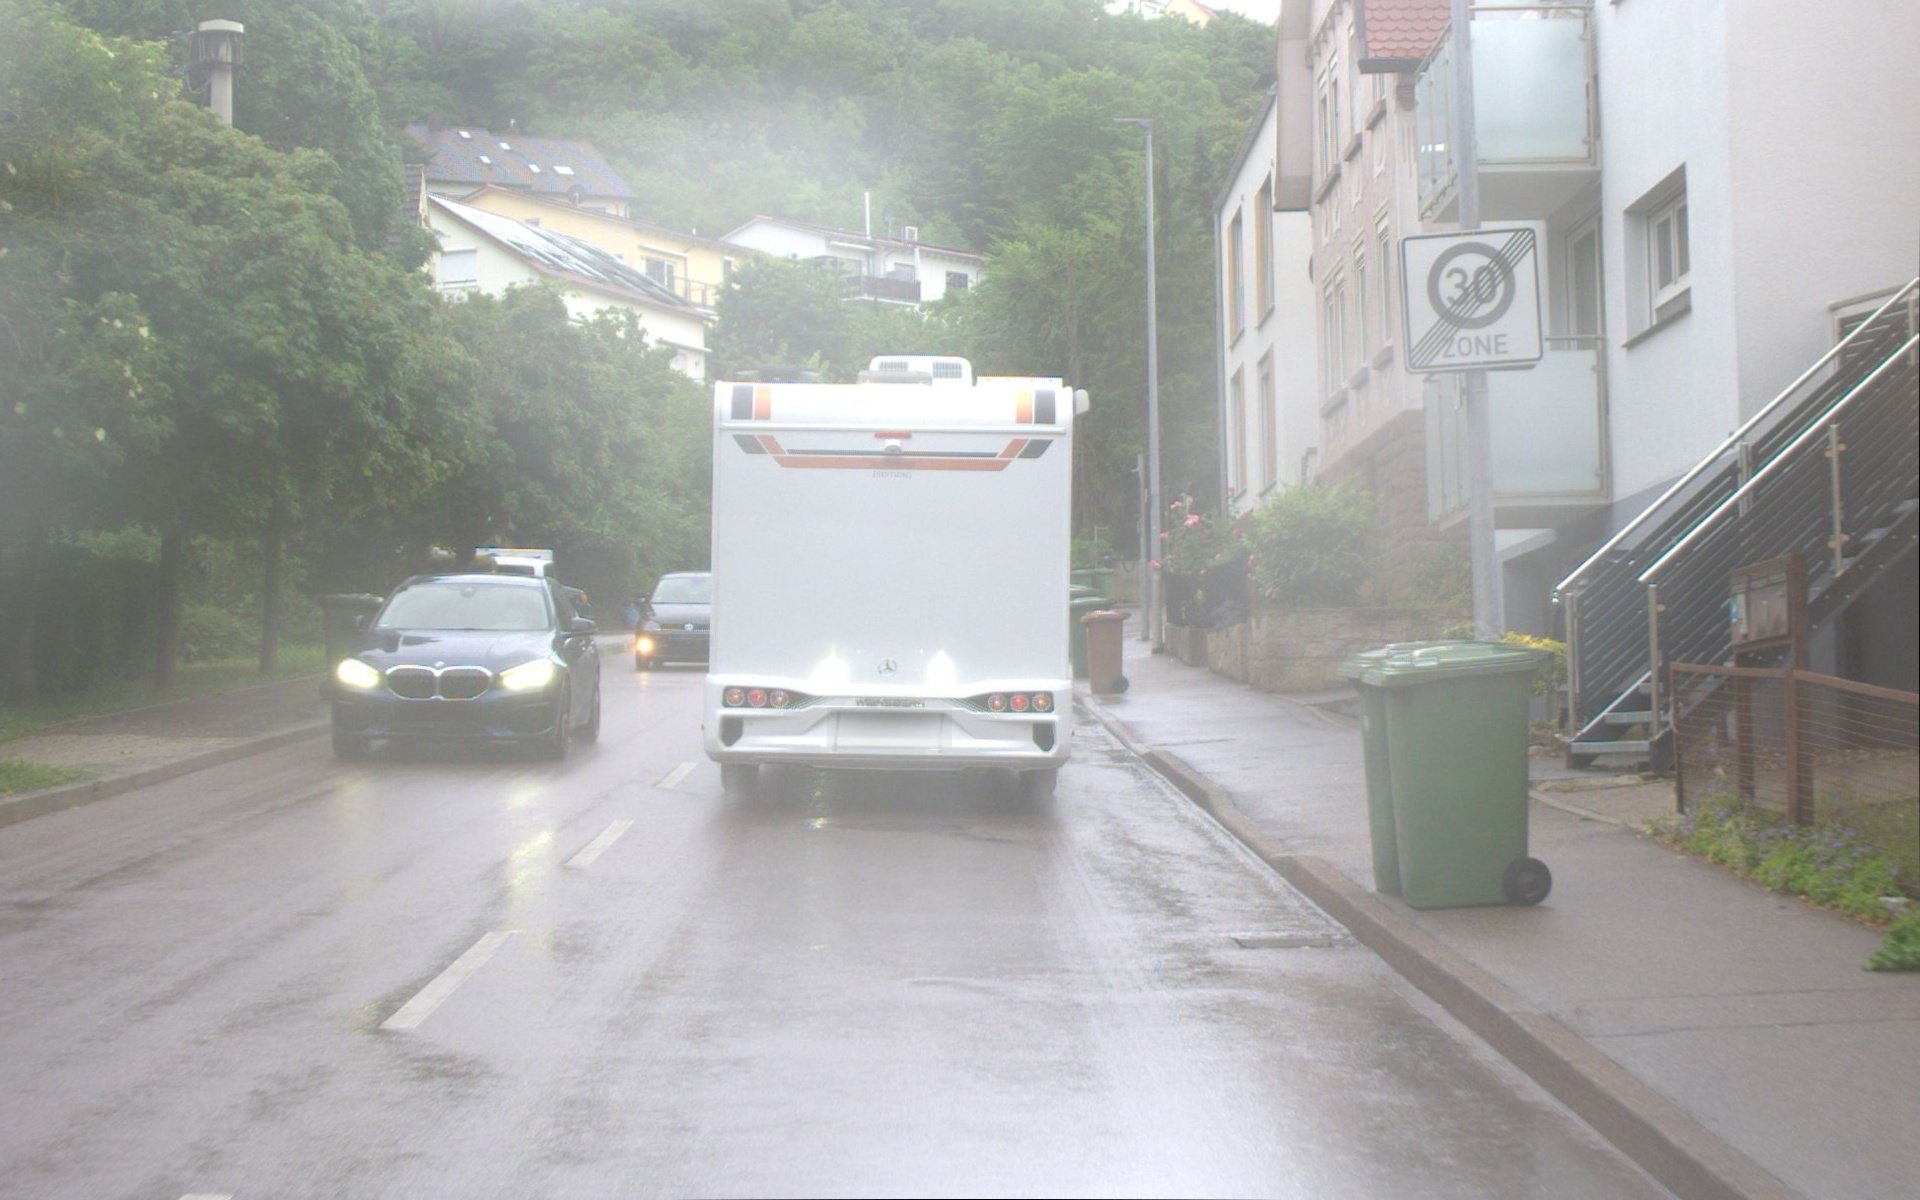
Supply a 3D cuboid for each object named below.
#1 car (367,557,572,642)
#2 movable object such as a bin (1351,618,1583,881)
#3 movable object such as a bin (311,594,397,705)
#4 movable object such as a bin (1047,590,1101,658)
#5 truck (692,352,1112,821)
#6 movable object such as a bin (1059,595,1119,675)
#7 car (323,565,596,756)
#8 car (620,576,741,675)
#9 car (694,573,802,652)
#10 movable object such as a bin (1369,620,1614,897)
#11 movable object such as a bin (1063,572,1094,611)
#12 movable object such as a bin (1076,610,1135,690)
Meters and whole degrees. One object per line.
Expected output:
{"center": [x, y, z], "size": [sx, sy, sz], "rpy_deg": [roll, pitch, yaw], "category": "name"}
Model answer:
{"center": [-10.578, -0.022, 74.375], "size": [4.106, 1.794, 2.000], "rpy_deg": [0, 0, 2], "category": "car"}
{"center": [2.184, 0.633, 14.896], "size": [0.914, 1.099, 0.702], "rpy_deg": [0, 0, 2], "category": "movable object such as a bin"}
{"center": [-6.155, 0.495, 34.931], "size": [0.720, 1.096, 0.757], "rpy_deg": [1, 0, 0], "category": "movable object such as a bin"}
{"center": [1.793, 0.381, 54.120], "size": [0.835, 1.057, 0.750], "rpy_deg": [0, 0, 1], "category": "movable object such as a bin"}
{"center": [-0.361, -0.104, 23.738], "size": [2.515, 2.808, 6.201], "rpy_deg": [0, 0, 0], "category": "truck"}
{"center": [1.744, 0.474, 46.662], "size": [0.796, 1.066, 0.761], "rpy_deg": [0, 0, 1], "category": "movable object such as a bin"}
{"center": [-3.949, 0.439, 27.661], "size": [1.719, 1.425, 3.845], "rpy_deg": [0, 0, -1], "category": "car"}
{"center": [-4.159, 0.354, 51.505], "size": [1.618, 1.436, 3.737], "rpy_deg": [0, 0, -2], "category": "car"}
{"center": [-4.473, 0.240, 73.119], "size": [1.918, 1.618, 4.363], "rpy_deg": [0, 0, 1], "category": "car"}
{"center": [2.174, 0.639, 14.148], "size": [0.914, 1.099, 0.702], "rpy_deg": [0, 0, 2], "category": "movable object such as a bin"}
{"center": [3.437, -0.256, 99.474], "size": [0.666, 1.136, 0.626], "rpy_deg": [0, 0, -30], "category": "movable object such as a bin"}
{"center": [1.655, 0.567, 39.223], "size": [0.630, 0.894, 0.712], "rpy_deg": [0, 0, 0], "category": "movable object such as a bin"}
